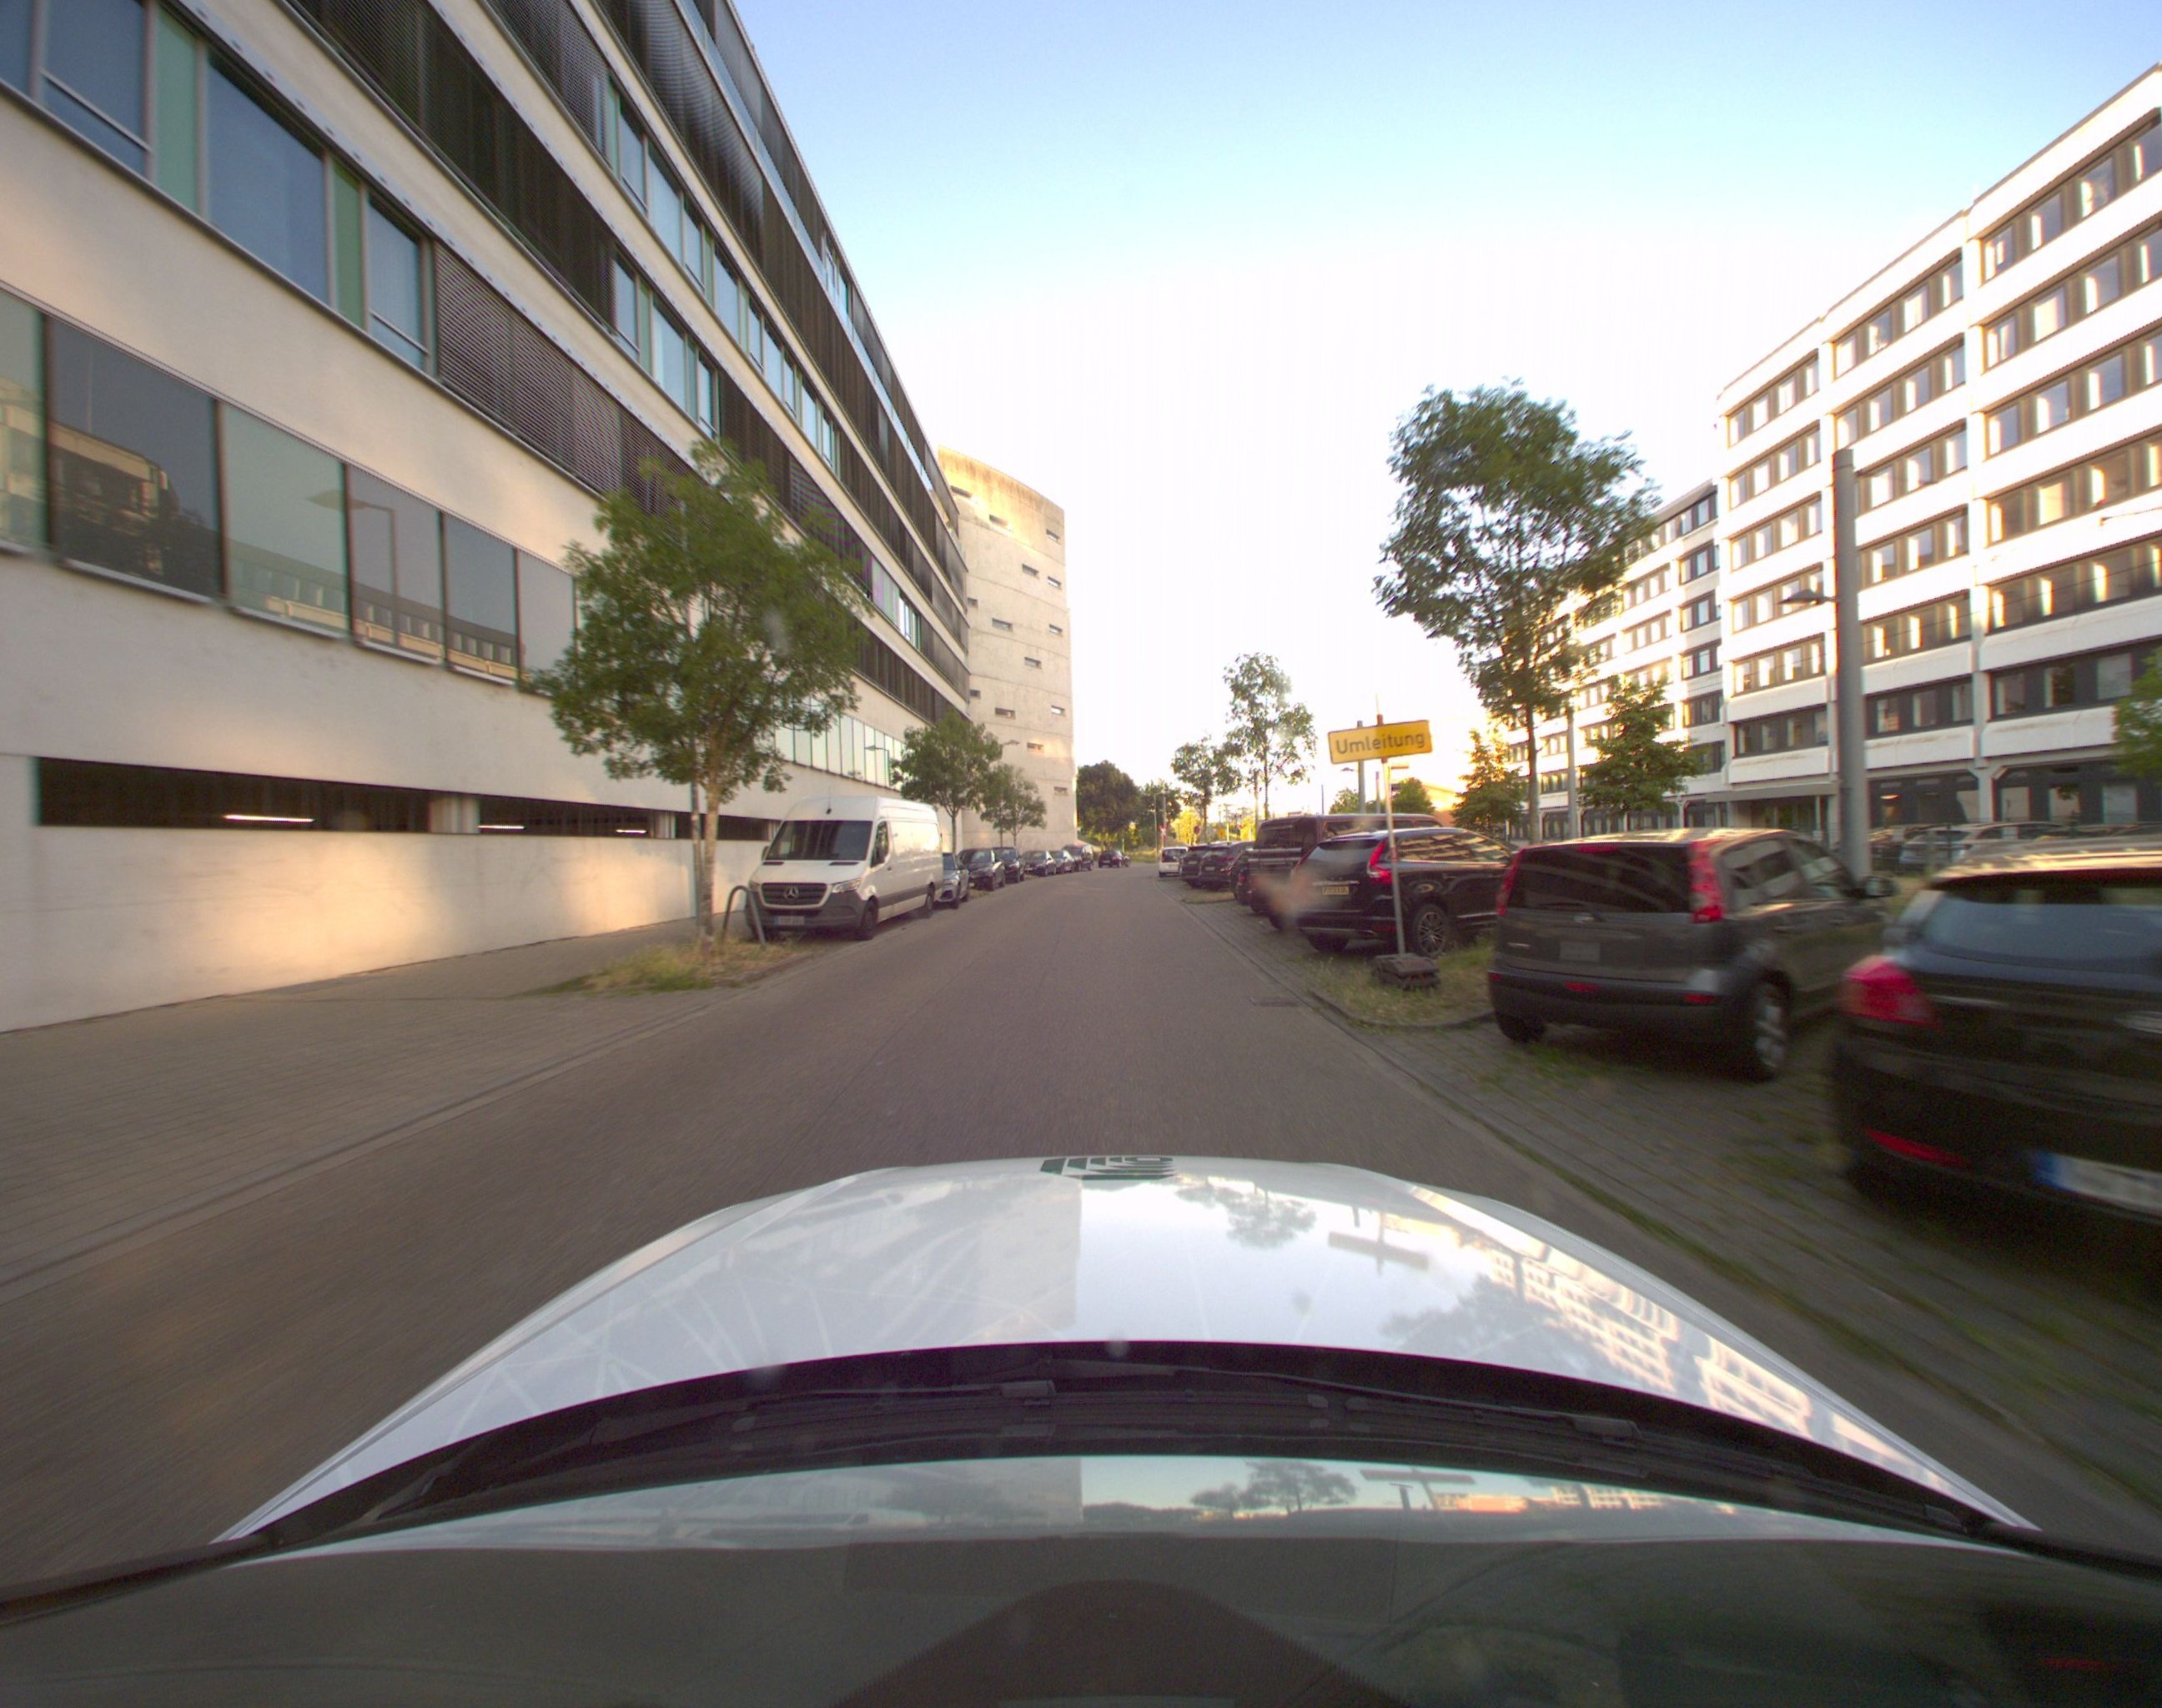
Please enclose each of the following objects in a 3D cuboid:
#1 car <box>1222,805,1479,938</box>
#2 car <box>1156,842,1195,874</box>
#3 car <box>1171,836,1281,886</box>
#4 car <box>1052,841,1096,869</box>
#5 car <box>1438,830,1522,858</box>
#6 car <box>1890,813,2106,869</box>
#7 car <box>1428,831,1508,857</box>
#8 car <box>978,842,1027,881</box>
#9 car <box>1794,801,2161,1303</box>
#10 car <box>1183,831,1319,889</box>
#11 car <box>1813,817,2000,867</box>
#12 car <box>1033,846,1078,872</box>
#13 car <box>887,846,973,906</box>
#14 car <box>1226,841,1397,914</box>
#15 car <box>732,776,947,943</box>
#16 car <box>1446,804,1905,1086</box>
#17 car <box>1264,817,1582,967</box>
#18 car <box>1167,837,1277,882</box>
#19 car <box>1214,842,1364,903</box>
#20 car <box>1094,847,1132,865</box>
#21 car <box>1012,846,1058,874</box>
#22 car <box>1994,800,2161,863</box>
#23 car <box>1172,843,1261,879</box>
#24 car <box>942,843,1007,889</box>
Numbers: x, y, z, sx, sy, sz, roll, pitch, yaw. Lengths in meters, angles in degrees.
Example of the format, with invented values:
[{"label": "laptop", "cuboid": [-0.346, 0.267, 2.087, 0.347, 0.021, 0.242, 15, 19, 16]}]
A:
[{"label": "car", "cuboid": [4.873, 0.225, 14.542, 4.619, 2.035, 1.853, -1, 1, -32]}, {"label": "car", "cuboid": [4.816, 0.173, 41.244, 1.712, 1.467, 3.563, -2, 1, 10]}, {"label": "car", "cuboid": [5.312, 0.216, 29.767, 3.791, 1.725, 1.746, -1, 1, -31]}, {"label": "car", "cuboid": [-0.430, 0.036, 56.106, 1.743, 1.798, 4.483, 1, 1, 17]}, {"label": "car", "cuboid": [25.167, -0.612, 51.427, 4.479, 1.602, 1.694, -2, 0, 1]}, {"label": "car", "cuboid": [24.329, -0.357, 21.707, 3.974, 1.398, 1.592, 1, 1, 0]}, {"label": "car", "cuboid": [25.561, -0.646, 53.870, 4.479, 1.602, 1.694, -2, 0, 1]}, {"label": "car", "cuboid": [-3.522, 0.304, 37.017, 1.749, 1.653, 3.950, 0, 1, 1]}, {"label": "car", "cuboid": [4.781, 0.517, 3.523, 4.018, 1.465, 1.717, -2, 0, -36]}, {"label": "car", "cuboid": [5.638, 0.184, 27.037, 3.995, 1.639, 1.956, -4, 0, -26]}, {"label": "car", "cuboid": [24.466, -0.361, 24.231, 3.974, 1.398, 1.592, 1, 1, 0]}, {"label": "car", "cuboid": [-1.518, 0.285, 51.130, 1.711, 1.457, 4.710, 1, 1, 12]}, {"label": "car", "cuboid": [-3.992, 0.532, 22.036, 1.752, 1.439, 3.898, 0, 1, -3]}, {"label": "car", "cuboid": [5.184, 0.448, 18.178, 3.794, 1.465, 1.622, -1, 1, -34]}, {"label": "car", "cuboid": [-4.361, 0.017, 16.234, 1.950, 2.616, 6.897, 0, 1, 2]}, {"label": "car", "cuboid": [4.847, 0.521, 6.473, 4.016, 1.595, 1.718, 0, 0, -34]}, {"label": "car", "cuboid": [4.929, 0.401, 11.542, 4.619, 1.749, 1.853, -1, 1, -32]}, {"label": "car", "cuboid": [5.681, 0.213, 32.784, 3.943, 1.509, 1.939, -4, 1, -28]}, {"label": "car", "cuboid": [5.479, 0.413, 21.335, 3.794, 1.442, 1.745, -1, 1, -34]}, {"label": "car", "cuboid": [2.660, 0.141, 66.490, 1.928, 1.382, 4.420, 1, 1, 18]}, {"label": "car", "cuboid": [-2.520, 0.303, 45.689, 1.712, 1.457, 4.282, 0, 1, 8]}, {"label": "car", "cuboid": [24.414, -0.504, 19.214, 3.974, 1.398, 1.592, 1, 1, 0]}, {"label": "car", "cuboid": [6.064, 0.269, 36.311, 3.768, 1.509, 1.670, -1, 1, -33]}, {"label": "car", "cuboid": [-3.934, 0.394, 30.641, 1.749, 1.561, 4.046, 0, 1, 2]}]
